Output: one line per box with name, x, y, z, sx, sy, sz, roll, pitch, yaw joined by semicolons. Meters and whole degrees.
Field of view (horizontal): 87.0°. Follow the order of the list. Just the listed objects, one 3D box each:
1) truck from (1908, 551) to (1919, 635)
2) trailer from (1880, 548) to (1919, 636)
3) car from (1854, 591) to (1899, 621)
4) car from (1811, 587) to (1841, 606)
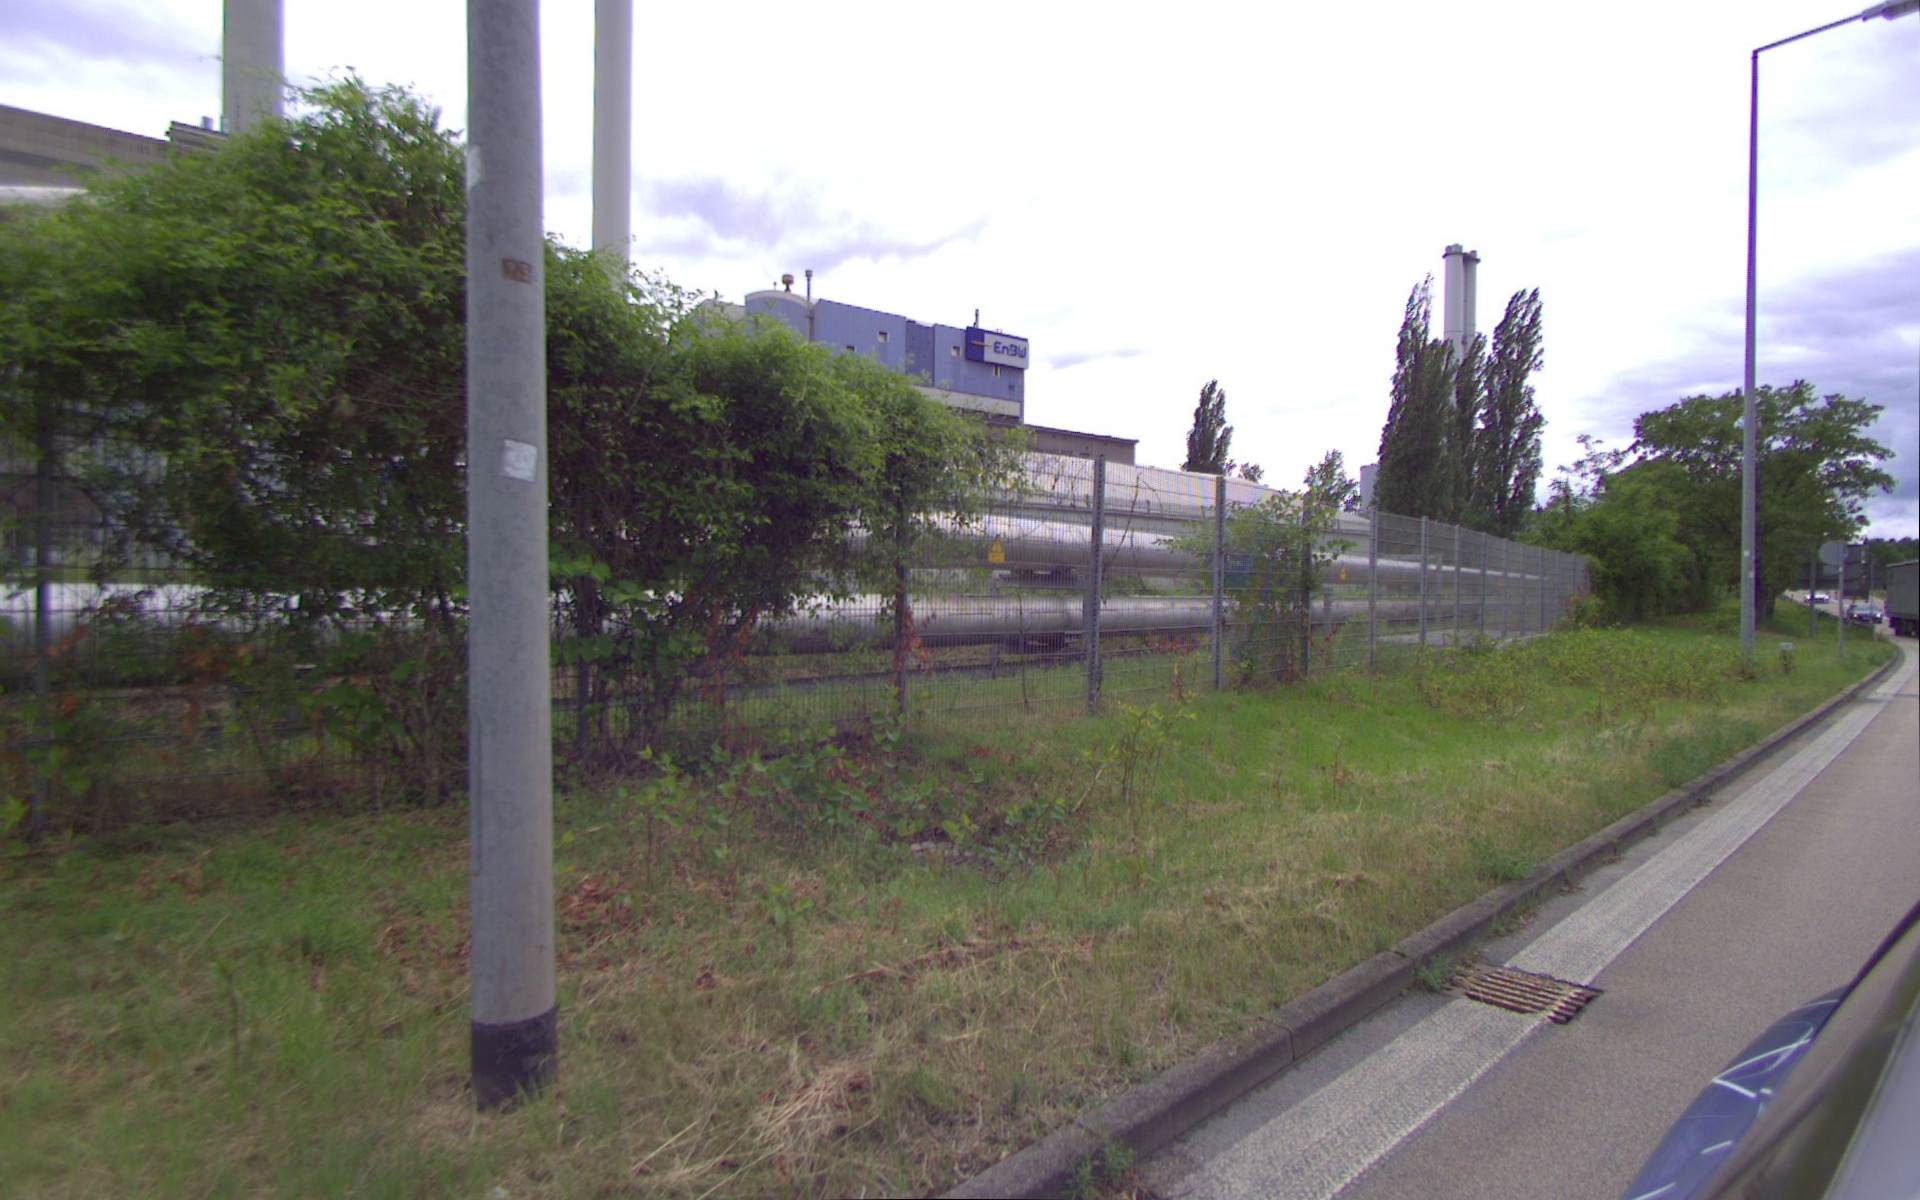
truck;48.242;-0.364;48.212;3.142;4.184;8.040;-2;-1;34
trailer;52.588;-0.382;54.392;3.147;4.379;13.090;-1;-1;36
car;67.327;0.436;74.403;1.989;2.039;3.946;2;1;37
car;91.909;-0.351;107.464;1.980;1.885;3.890;2;1;35
